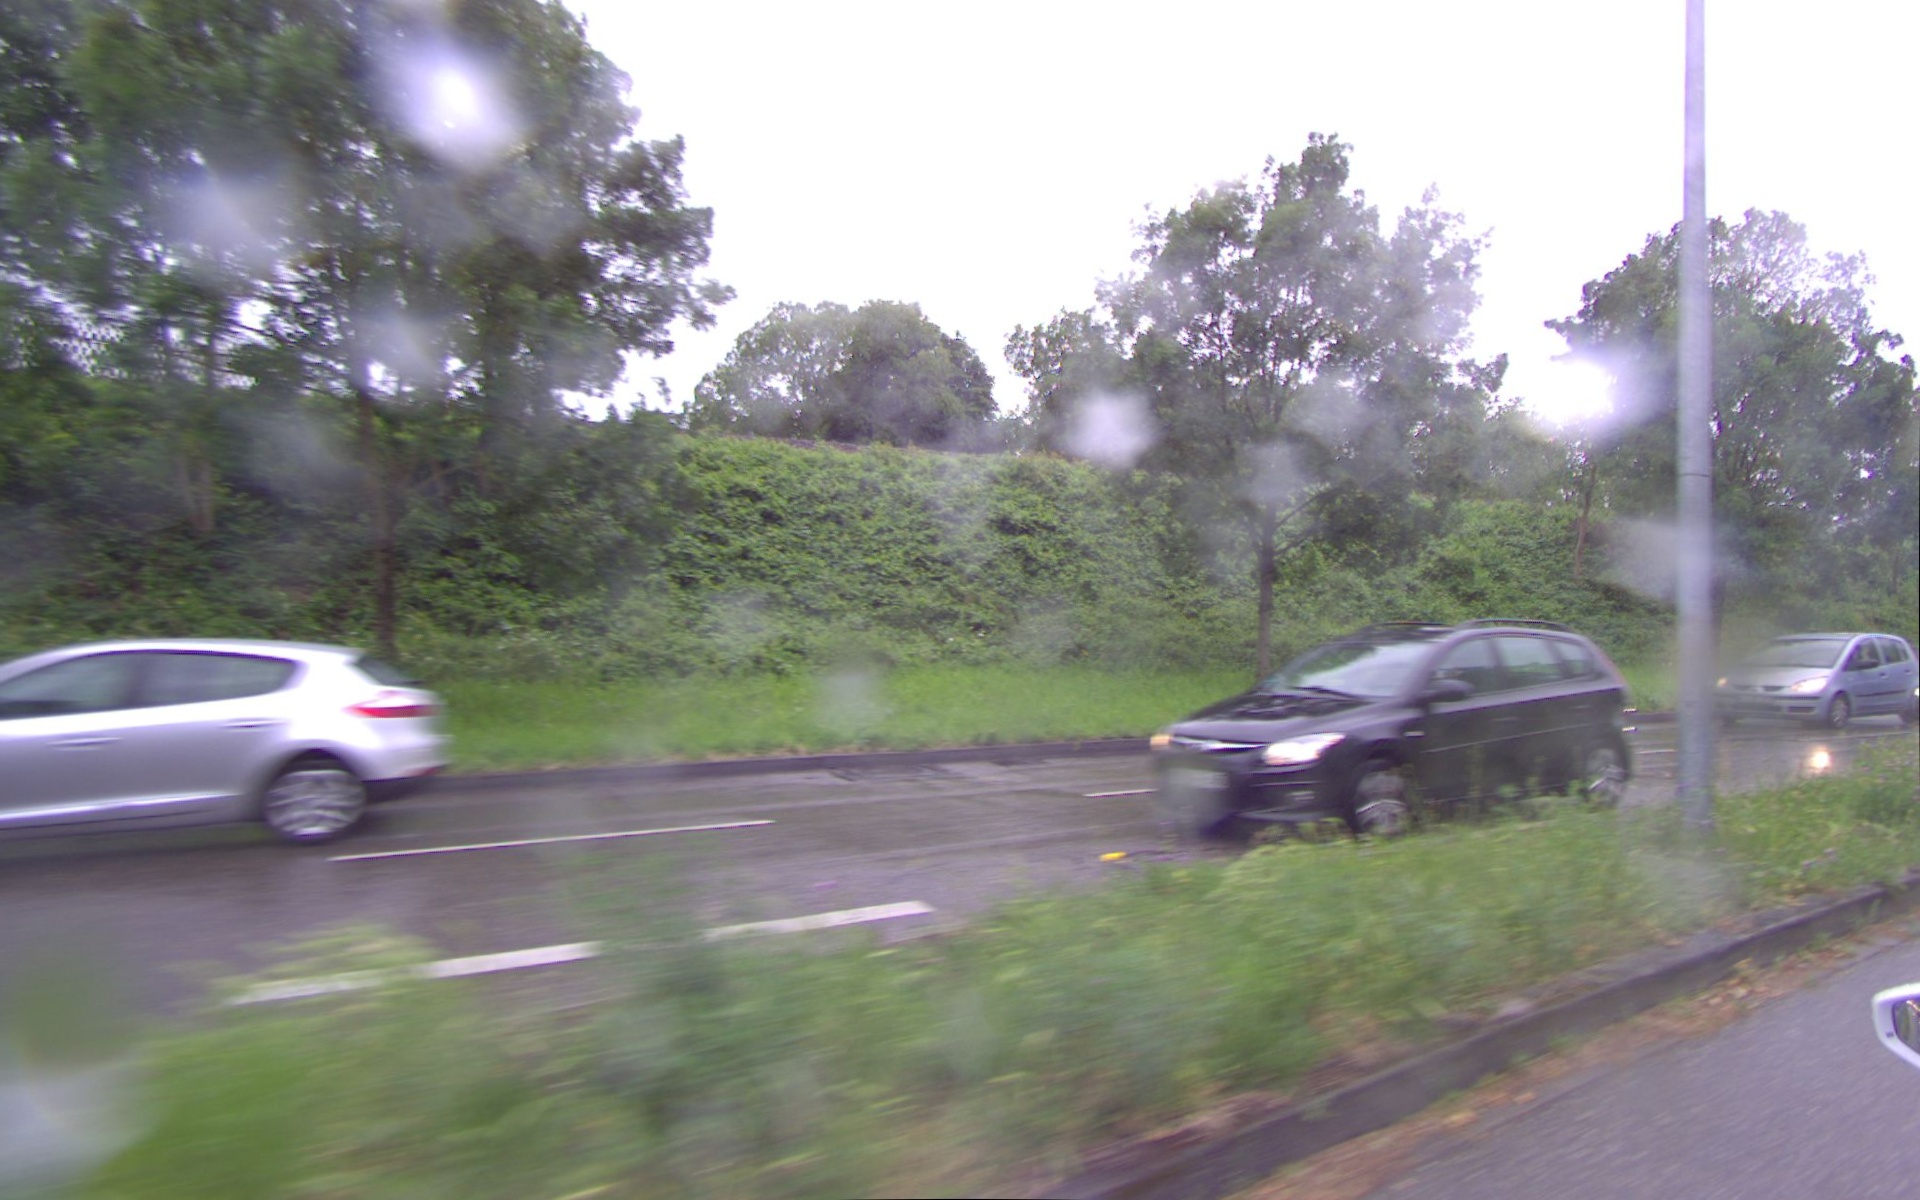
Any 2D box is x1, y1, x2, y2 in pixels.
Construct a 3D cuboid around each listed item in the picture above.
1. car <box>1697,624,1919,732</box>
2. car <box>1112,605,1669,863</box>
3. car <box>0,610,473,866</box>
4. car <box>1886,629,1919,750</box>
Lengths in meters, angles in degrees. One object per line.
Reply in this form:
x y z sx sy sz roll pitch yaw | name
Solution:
14.560 1.252 17.034 3.794 1.639 1.691 1 -1 -24 | car
3.520 0.921 8.094 4.305 1.595 1.817 1 -4 -28 | car
-6.140 0.924 7.245 4.644 1.594 1.904 1 -4 -25 | car
15.162 1.255 14.294 4.294 1.639 1.713 1 -1 -30 | car
